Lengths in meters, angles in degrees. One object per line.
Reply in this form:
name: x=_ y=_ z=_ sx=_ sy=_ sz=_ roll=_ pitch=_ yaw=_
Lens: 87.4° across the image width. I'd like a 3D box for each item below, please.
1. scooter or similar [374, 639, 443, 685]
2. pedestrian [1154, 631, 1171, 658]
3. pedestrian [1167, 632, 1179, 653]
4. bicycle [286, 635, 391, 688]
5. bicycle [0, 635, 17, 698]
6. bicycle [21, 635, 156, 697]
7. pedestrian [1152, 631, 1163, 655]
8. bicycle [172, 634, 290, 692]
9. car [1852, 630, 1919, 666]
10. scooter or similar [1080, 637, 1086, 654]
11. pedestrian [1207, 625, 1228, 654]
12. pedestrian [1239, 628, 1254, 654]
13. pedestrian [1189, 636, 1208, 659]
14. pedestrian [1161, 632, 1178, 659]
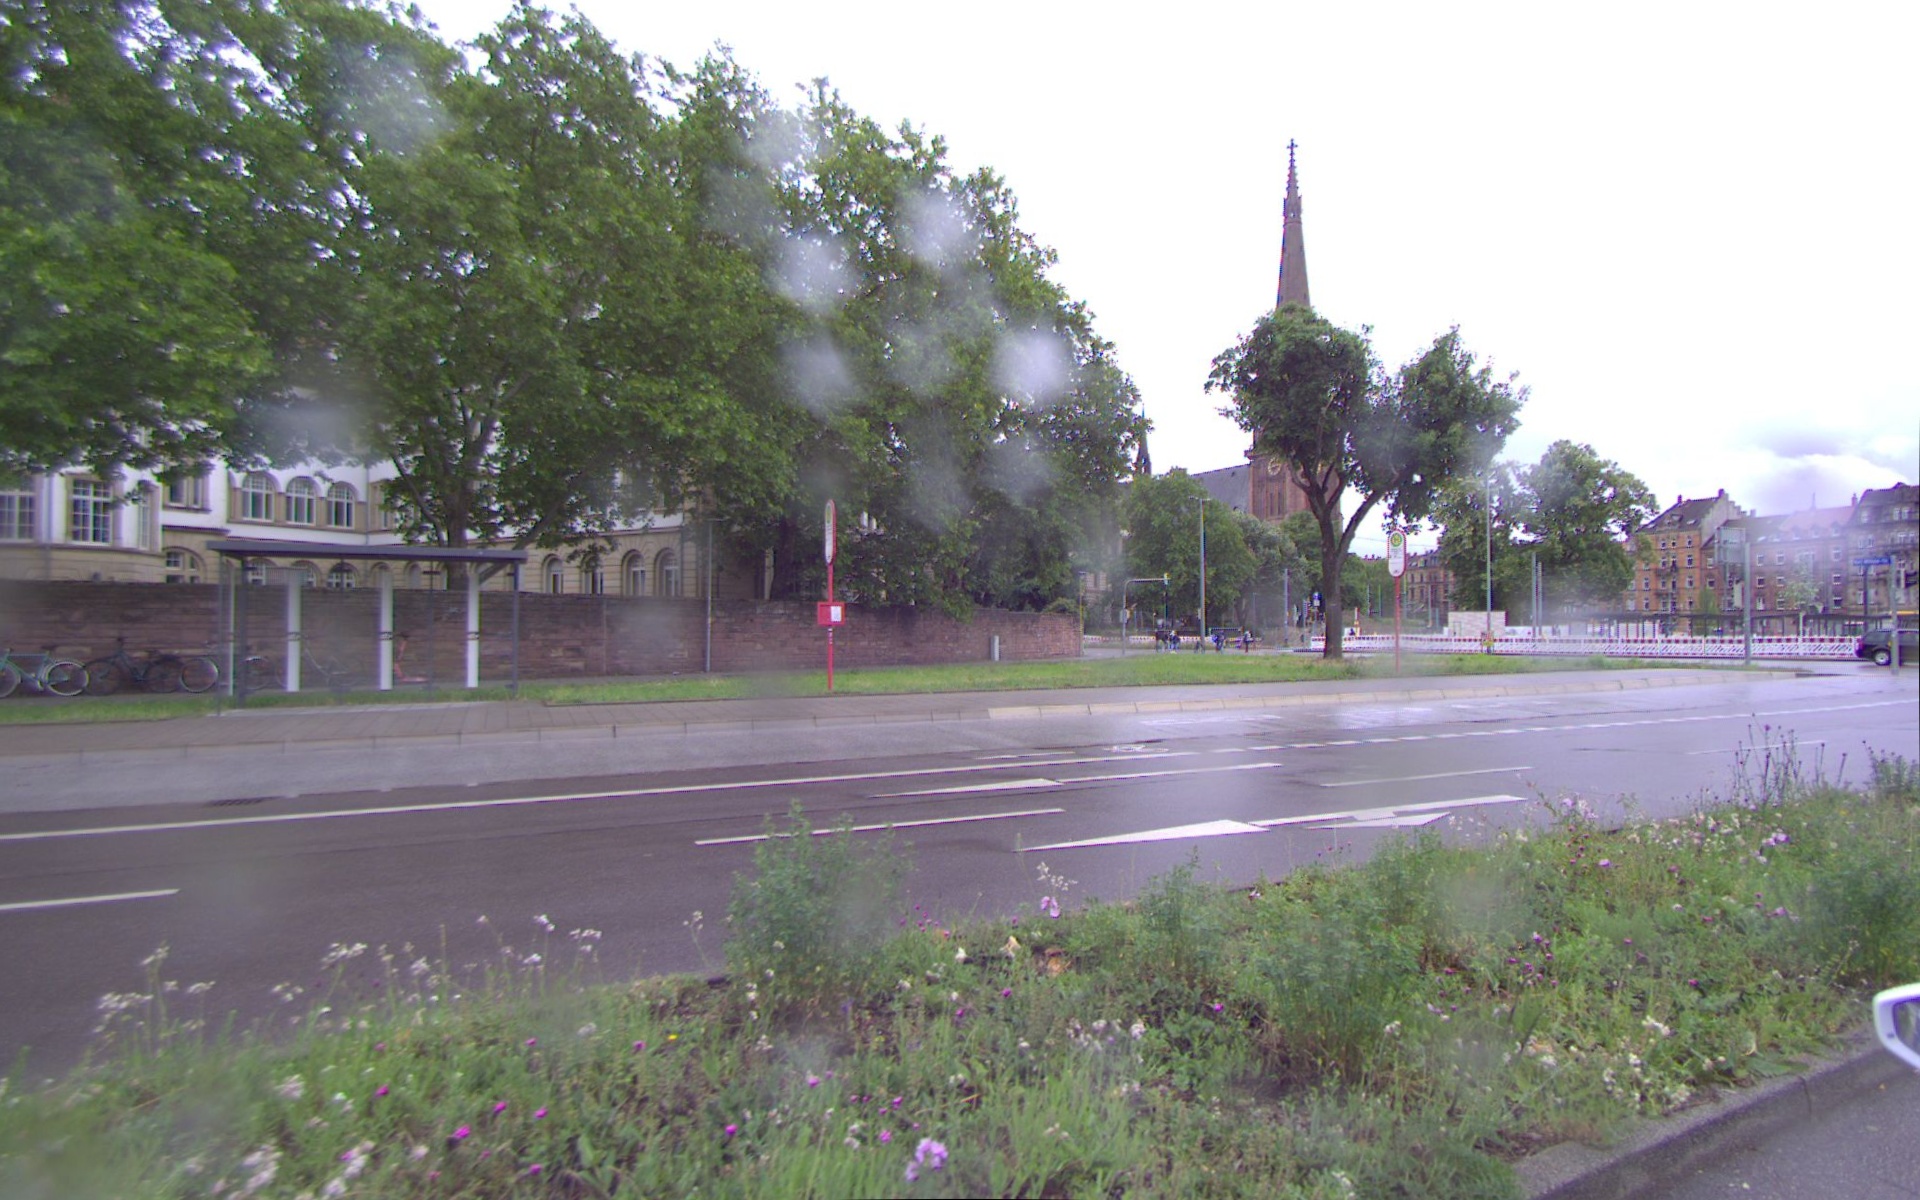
scooter or similar: x=-13.116 y=1.461 z=23.902 sx=1.352 sy=1.060 sz=0.567 roll=1 pitch=-2 yaw=-42
pedestrian: x=15.443 y=3.368 z=76.479 sx=0.943 sy=2.040 sz=0.854 roll=1 pitch=-1 yaw=-23
pedestrian: x=15.561 y=3.124 z=73.345 sx=0.663 sy=1.520 sz=0.772 roll=0 pitch=-1 yaw=32
bicycle: x=-14.143 y=1.375 z=22.893 sx=1.976 sy=1.151 sz=0.568 roll=1 pitch=-2 yaw=-42
bicycle: x=-18.485 y=1.228 z=18.233 sx=0.567 sy=1.151 sz=1.979 roll=-1 pitch=-2 yaw=44
bicycle: x=-17.097 y=1.268 z=19.759 sx=1.976 sy=1.151 sz=0.568 roll=1 pitch=-2 yaw=-42
pedestrian: x=15.531 y=3.383 z=79.053 sx=0.595 sy=1.915 sz=0.602 roll=1 pitch=-1 yaw=-28
bicycle: x=-15.436 y=1.309 z=21.294 sx=1.976 sy=1.151 sz=0.568 roll=1 pitch=-2 yaw=-42
car: x=38.566 y=1.908 z=40.089 sx=1.598 sy=1.421 sz=4.174 roll=1 pitch=-1 yaw=-28
scooter or similar: x=8.000 y=2.977 z=65.393 sx=0.273 sy=1.096 sz=1.079 roll=0 pitch=-1 yaw=3
pedestrian: x=18.757 y=2.854 z=73.173 sx=0.983 sy=2.040 sz=1.302 roll=-1 pitch=-1 yaw=41
pedestrian: x=20.524 y=2.931 z=71.862 sx=0.763 sy=1.801 sz=0.722 roll=1 pitch=-1 yaw=-23
pedestrian: x=16.564 y=3.285 z=69.832 sx=0.919 sy=1.560 sz=1.055 roll=-1 pitch=-1 yaw=41
pedestrian: x=15.783 y=3.395 z=75.539 sx=0.943 sy=2.040 sz=0.854 roll=1 pitch=-1 yaw=-23
